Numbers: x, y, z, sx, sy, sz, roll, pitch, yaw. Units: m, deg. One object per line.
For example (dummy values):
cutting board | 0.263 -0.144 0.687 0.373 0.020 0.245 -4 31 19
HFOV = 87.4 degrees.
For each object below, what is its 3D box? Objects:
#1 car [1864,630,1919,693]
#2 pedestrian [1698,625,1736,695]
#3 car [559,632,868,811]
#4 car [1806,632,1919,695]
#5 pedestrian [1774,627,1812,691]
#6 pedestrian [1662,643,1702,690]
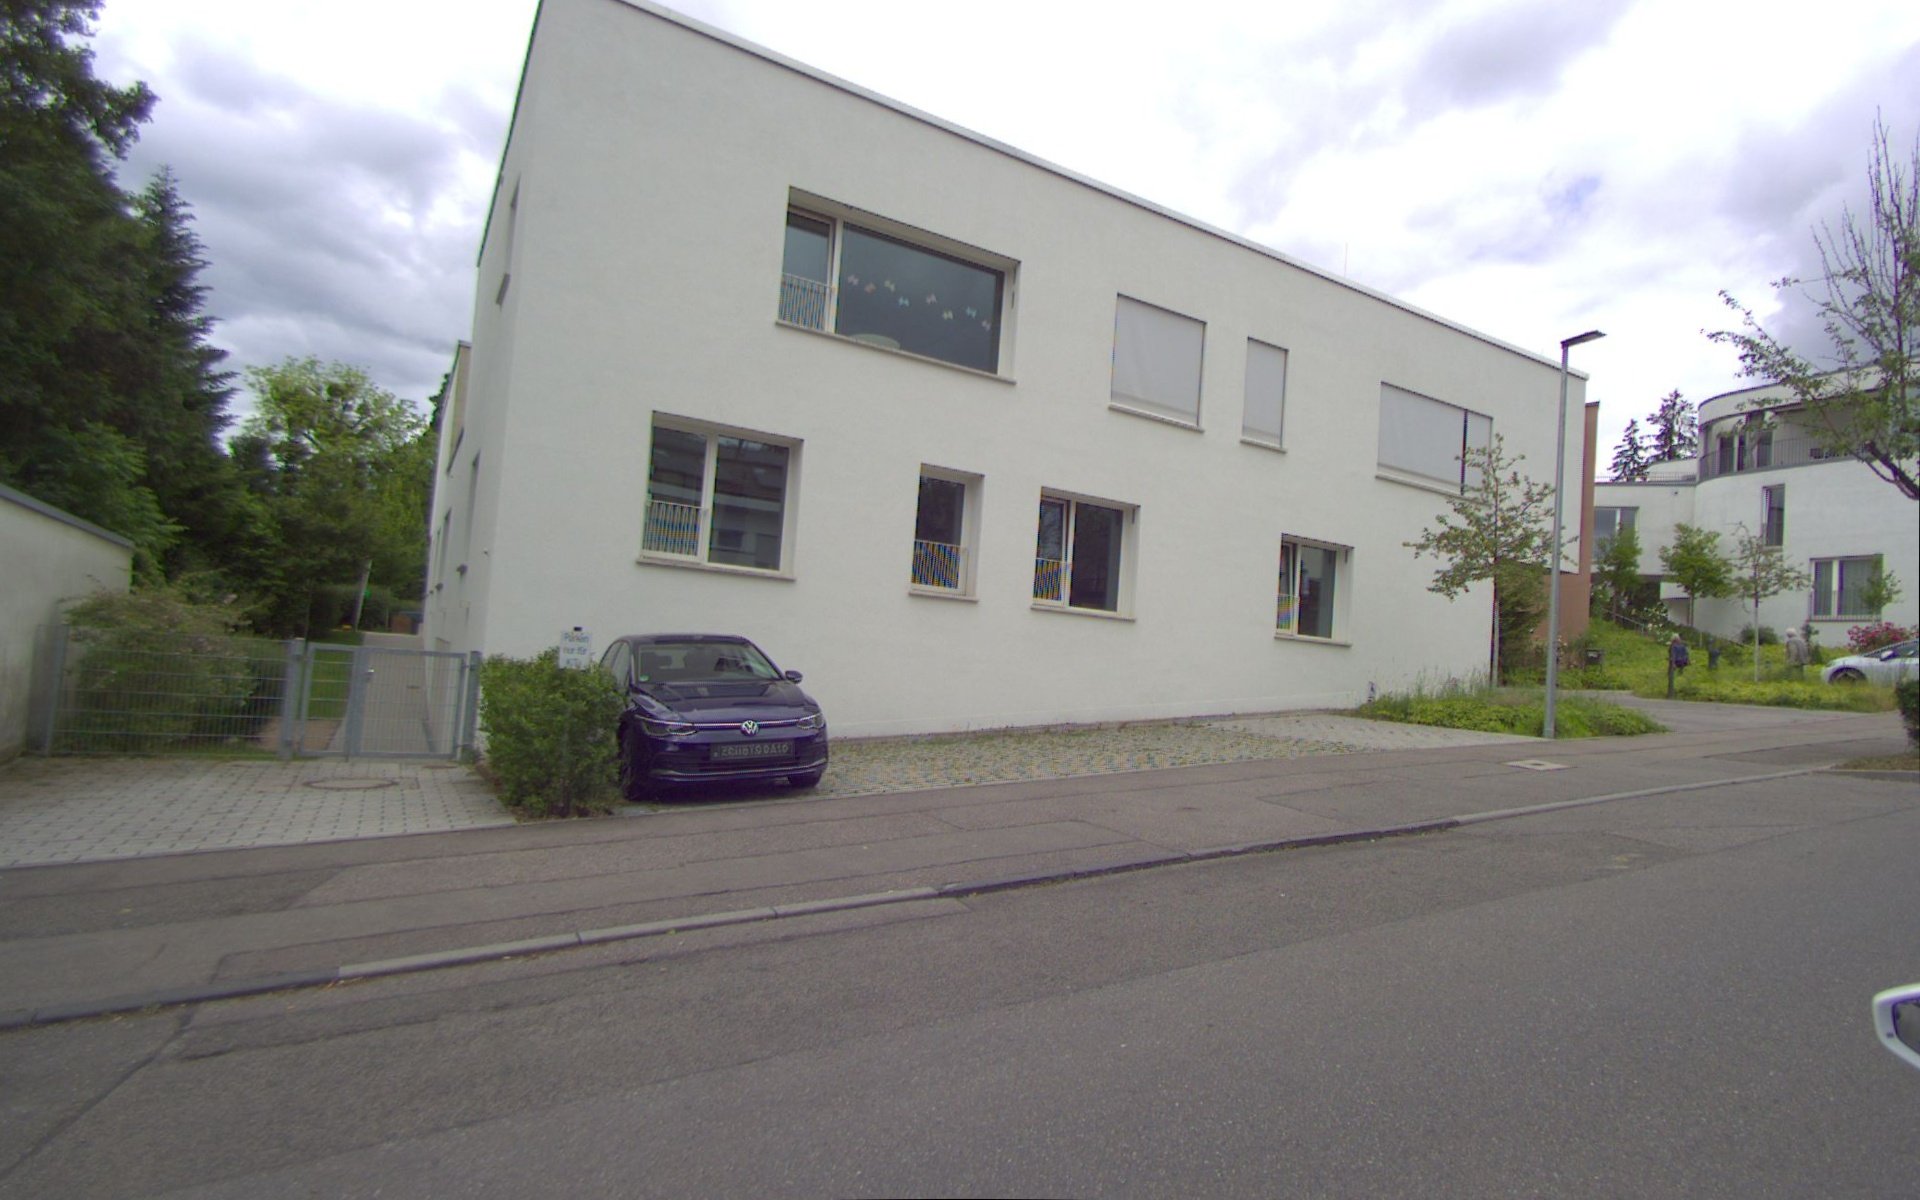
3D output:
car | 27.231 1.688 26.982 1.984 1.675 3.970 2 -1 -29
pedestrian | 18.852 1.478 25.008 0.513 1.704 0.586 2 -2 -29
car | -2.592 1.022 9.914 1.724 1.372 3.770 2 -2 -35
car | 24.920 1.621 25.887 2.043 1.587 4.365 2 -3 -31
pedestrian | 21.934 1.546 26.444 0.558 1.662 0.591 2 -2 -29
pedestrian | 20.771 1.904 28.904 0.889 1.300 0.604 2 -1 -30
